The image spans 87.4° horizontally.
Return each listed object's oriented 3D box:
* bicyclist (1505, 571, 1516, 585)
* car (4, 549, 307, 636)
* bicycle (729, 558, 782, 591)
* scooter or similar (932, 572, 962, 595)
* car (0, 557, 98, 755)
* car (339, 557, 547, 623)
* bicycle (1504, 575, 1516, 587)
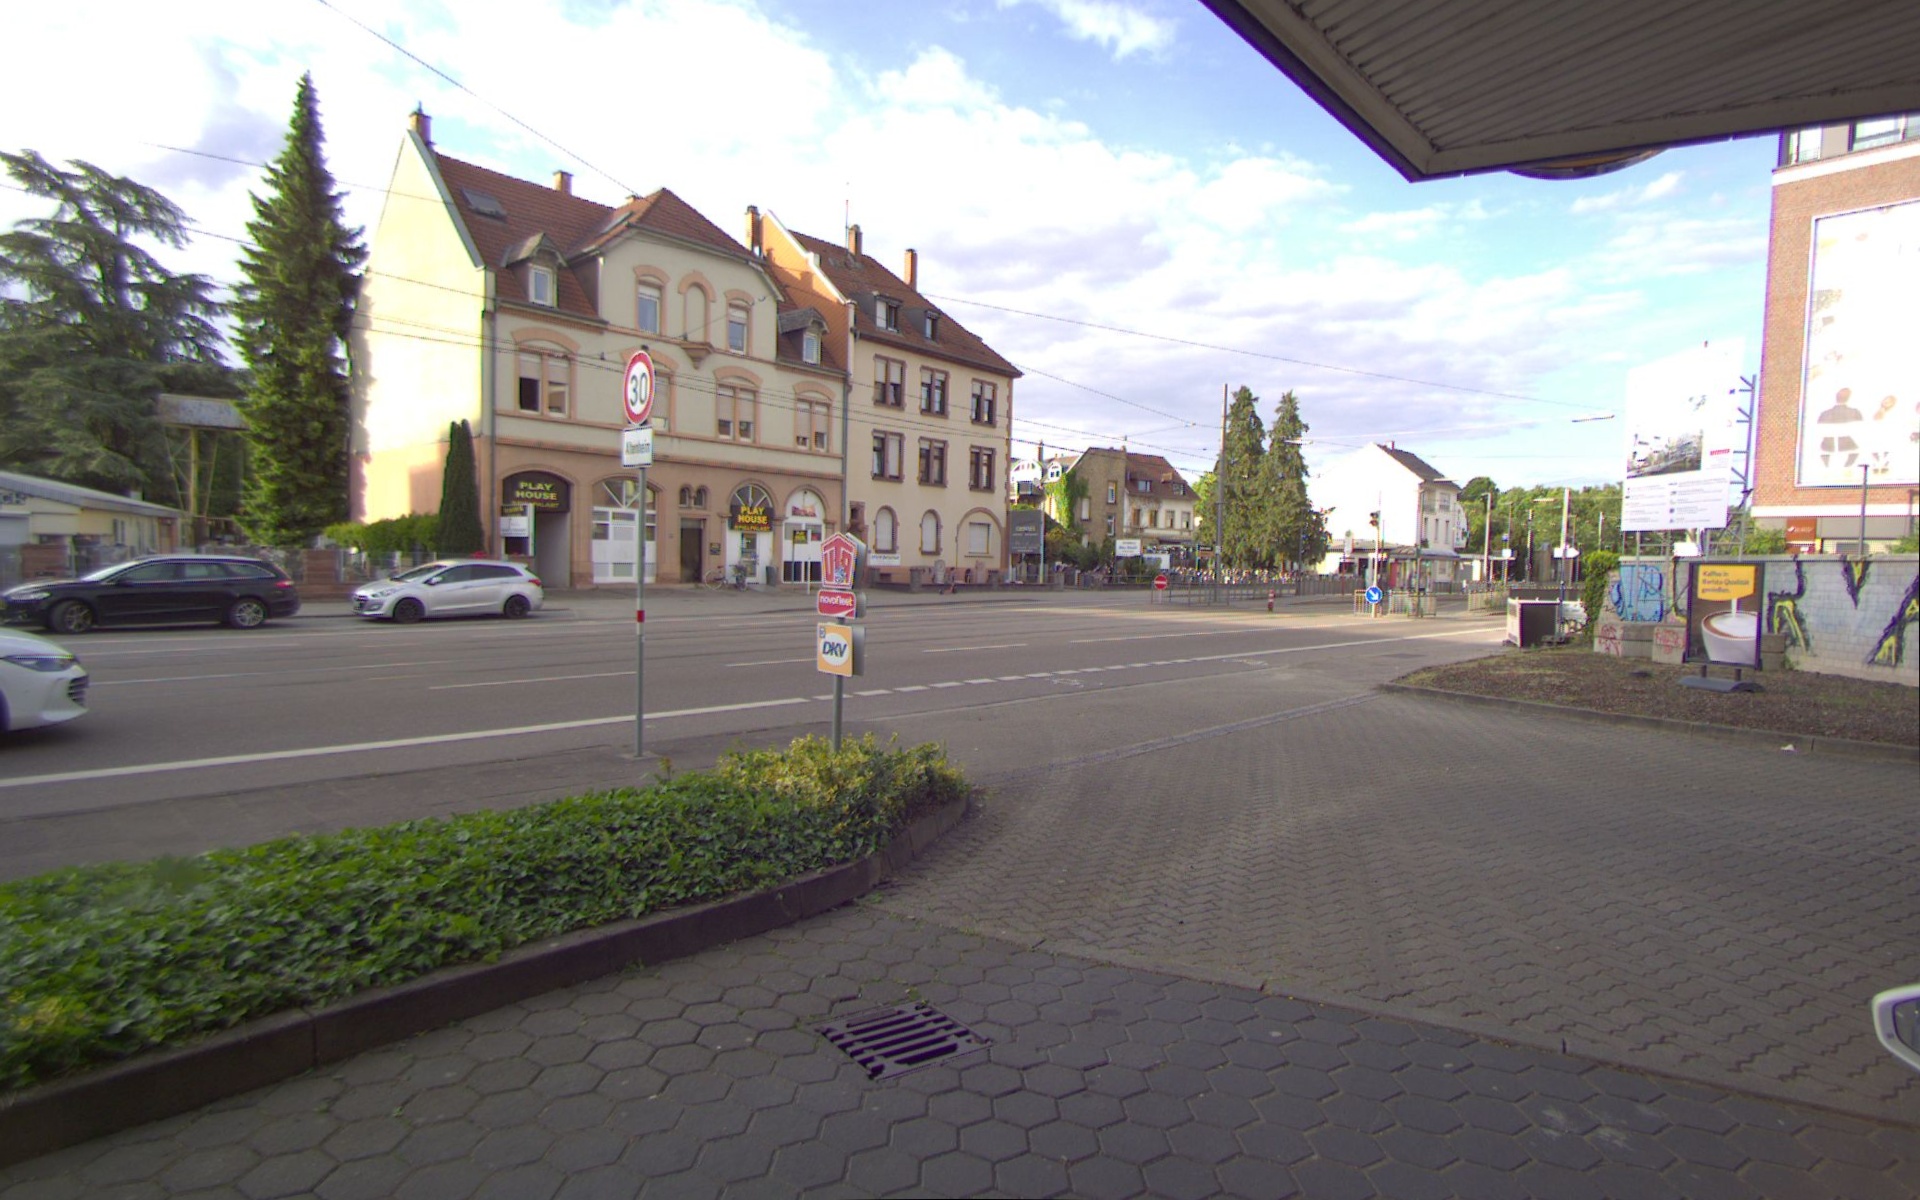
[{"bbox_3d":[59.143,-2.401,107.930,0.741,1.428,0.917,8,6,39],"label":"bicyclist"},{"bbox_3d":[-16.487,-0.182,20.808,1.827,1.542,4.642,5,4,40],"label":"car"},{"bbox_3d":[-8.249,-1.016,40.618,0.741,1.219,2.011,8,5,41],"label":"bicycle"},{"bbox_3d":[-0.568,-0.731,45.085,0.437,1.006,1.460,6,5,41],"label":"scooter or similar"},{"bbox_3d":[-9.548,0.428,7.303,1.837,1.529,4.802,5,3,41],"label":"car"},{"bbox_3d":[-12.929,-0.259,25.347,1.718,1.502,4.357,3,2,41],"label":"car"},{"bbox_3d":[59.164,-2.096,108.011,0.741,1.219,1.812,8,6,40],"label":"bicycle"}]
